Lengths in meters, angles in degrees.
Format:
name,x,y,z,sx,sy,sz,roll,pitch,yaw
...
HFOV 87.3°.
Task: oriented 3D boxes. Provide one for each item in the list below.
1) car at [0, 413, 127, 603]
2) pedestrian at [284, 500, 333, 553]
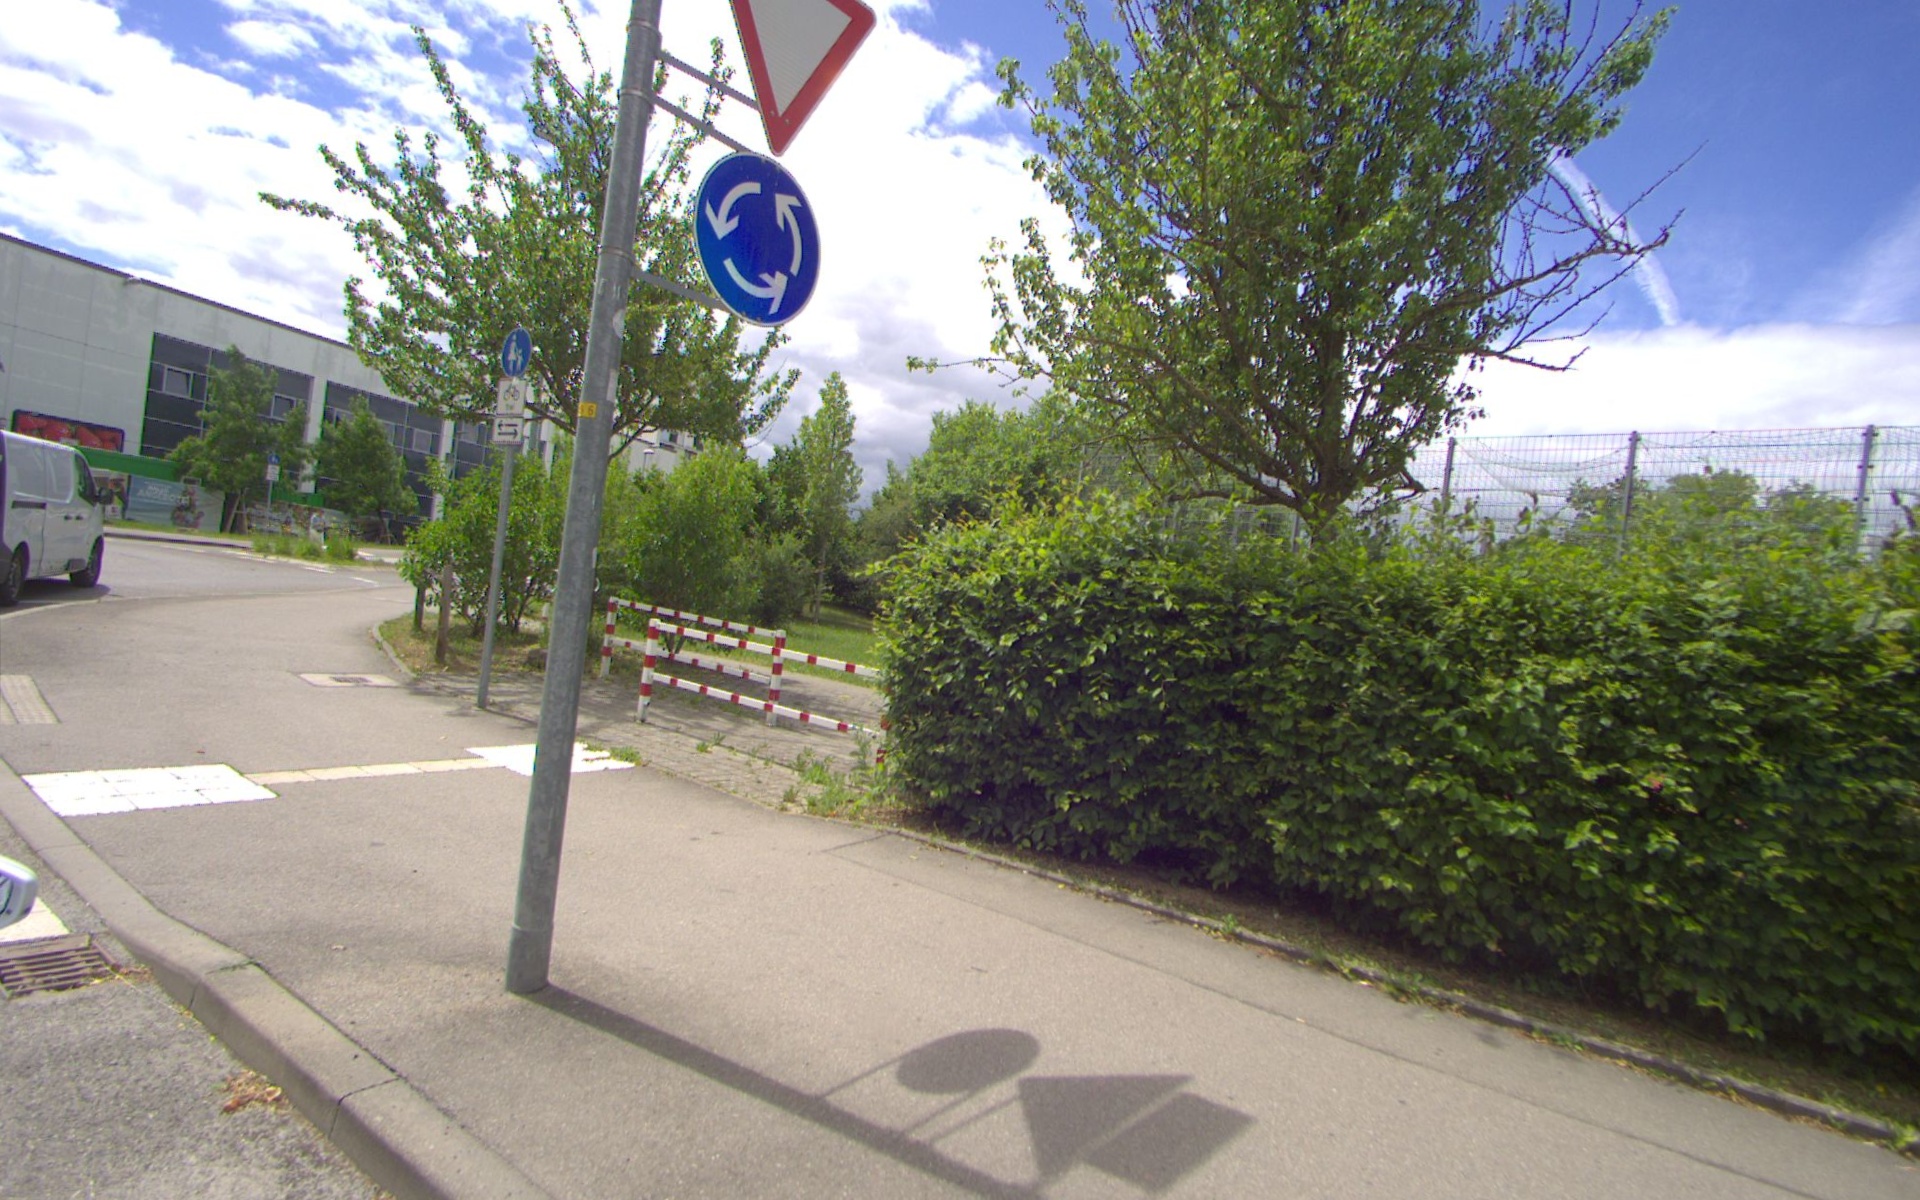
name,x,y,z,sx,sy,sz,roll,pitch,yaw
car,-12.011,-1.184,12.124,2.020,1.967,4.955,9,-2,-30
pedestrian,-21.396,-2.402,33.077,1.024,1.559,0.890,8,-1,-23
